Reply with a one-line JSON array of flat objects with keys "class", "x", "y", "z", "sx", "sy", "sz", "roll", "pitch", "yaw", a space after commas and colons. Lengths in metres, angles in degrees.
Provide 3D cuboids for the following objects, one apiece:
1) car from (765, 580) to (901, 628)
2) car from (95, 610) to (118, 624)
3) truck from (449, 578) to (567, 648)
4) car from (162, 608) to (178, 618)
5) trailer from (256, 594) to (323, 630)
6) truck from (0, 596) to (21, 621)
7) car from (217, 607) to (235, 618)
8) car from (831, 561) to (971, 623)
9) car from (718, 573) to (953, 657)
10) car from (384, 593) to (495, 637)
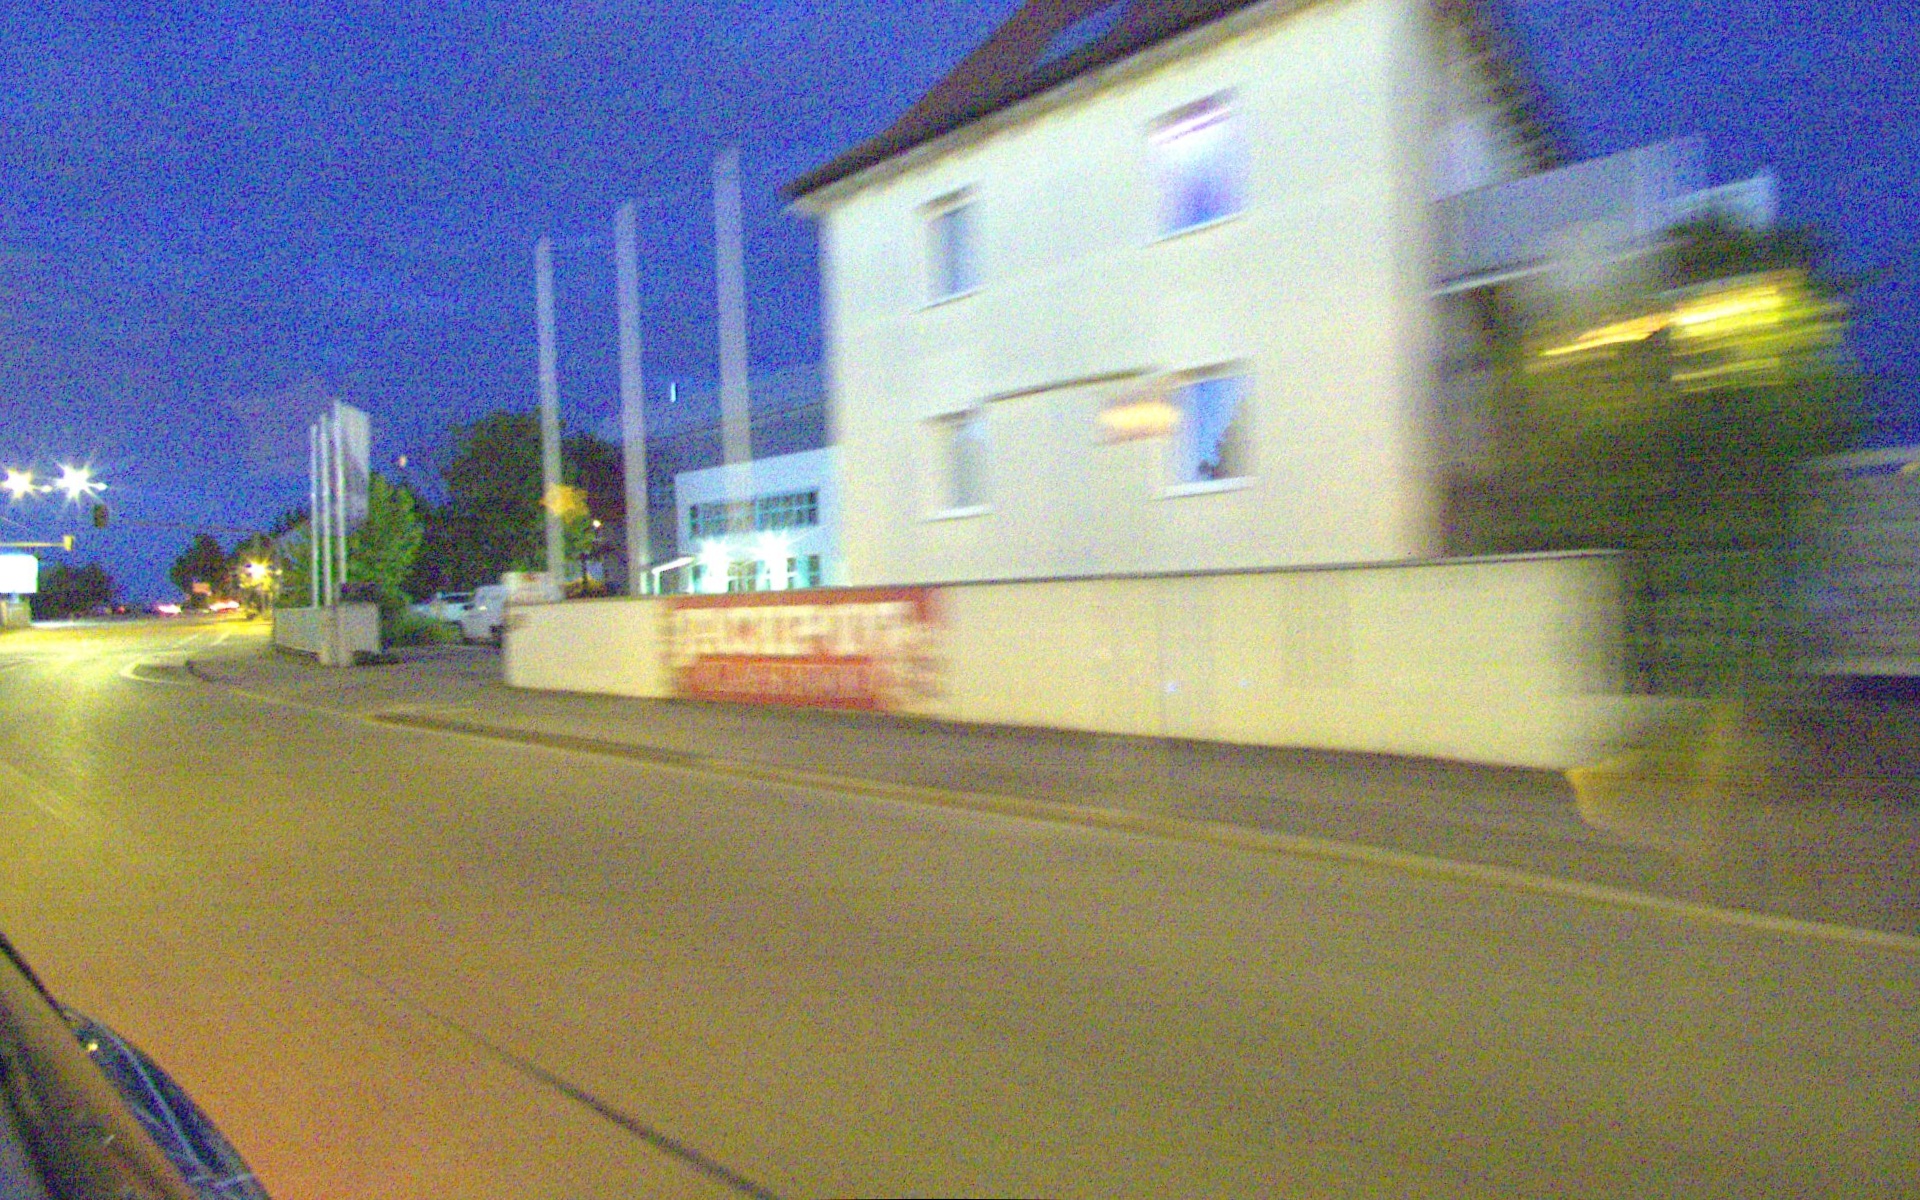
[{"class": "car", "x": -4.289, "y": 0.142, "z": 33.767, "sx": 4.614, "sy": 1.475, "sz": 1.823, "roll": -1, "pitch": 1, "yaw": 40}, {"class": "car", "x": -101.258, "y": 1.992, "z": 120.051, "sx": 1.911, "sy": 1.563, "sz": 4.005, "roll": -3, "pitch": 1, "yaw": -42}, {"class": "truck", "x": -14.037, "y": 0.370, "z": 31.259, "sx": 1.968, "sy": 1.914, "sz": 5.326, "roll": -3, "pitch": 1, "yaw": -39}, {"class": "car", "x": -136.343, "y": 2.245, "z": 174.696, "sx": 1.967, "sy": 1.639, "sz": 4.764, "roll": -2, "pitch": 1, "yaw": -35}, {"class": "trailer", "x": -52.006, "y": 0.955, "z": 78.494, "sx": 4.290, "sy": 2.741, "sz": 2.005, "roll": 1, "pitch": -1, "yaw": -35}, {"class": "truck", "x": -90.709, "y": 0.786, "z": 95.261, "sx": 2.346, "sy": 2.301, "sz": 7.763, "roll": -2, "pitch": 1, "yaw": -35}, {"class": "car", "x": -101.831, "y": 1.708, "z": 140.428, "sx": 1.825, "sy": 1.456, "sz": 4.926, "roll": -2, "pitch": 1, "yaw": -37}, {"class": "car", "x": -2.101, "y": -0.247, "z": 35.297, "sx": 4.680, "sy": 2.028, "sz": 1.975, "roll": -1, "pitch": 1, "yaw": 37}, {"class": "car", "x": -2.525, "y": 0.305, "z": 20.099, "sx": 4.514, "sy": 1.505, "sz": 1.813, "roll": -2, "pitch": 0, "yaw": 33}, {"class": "car", "x": -23.828, "y": 0.645, "z": 46.412, "sx": 4.078, "sy": 1.785, "sz": 2.002, "roll": -2, "pitch": 1, "yaw": -43}]
